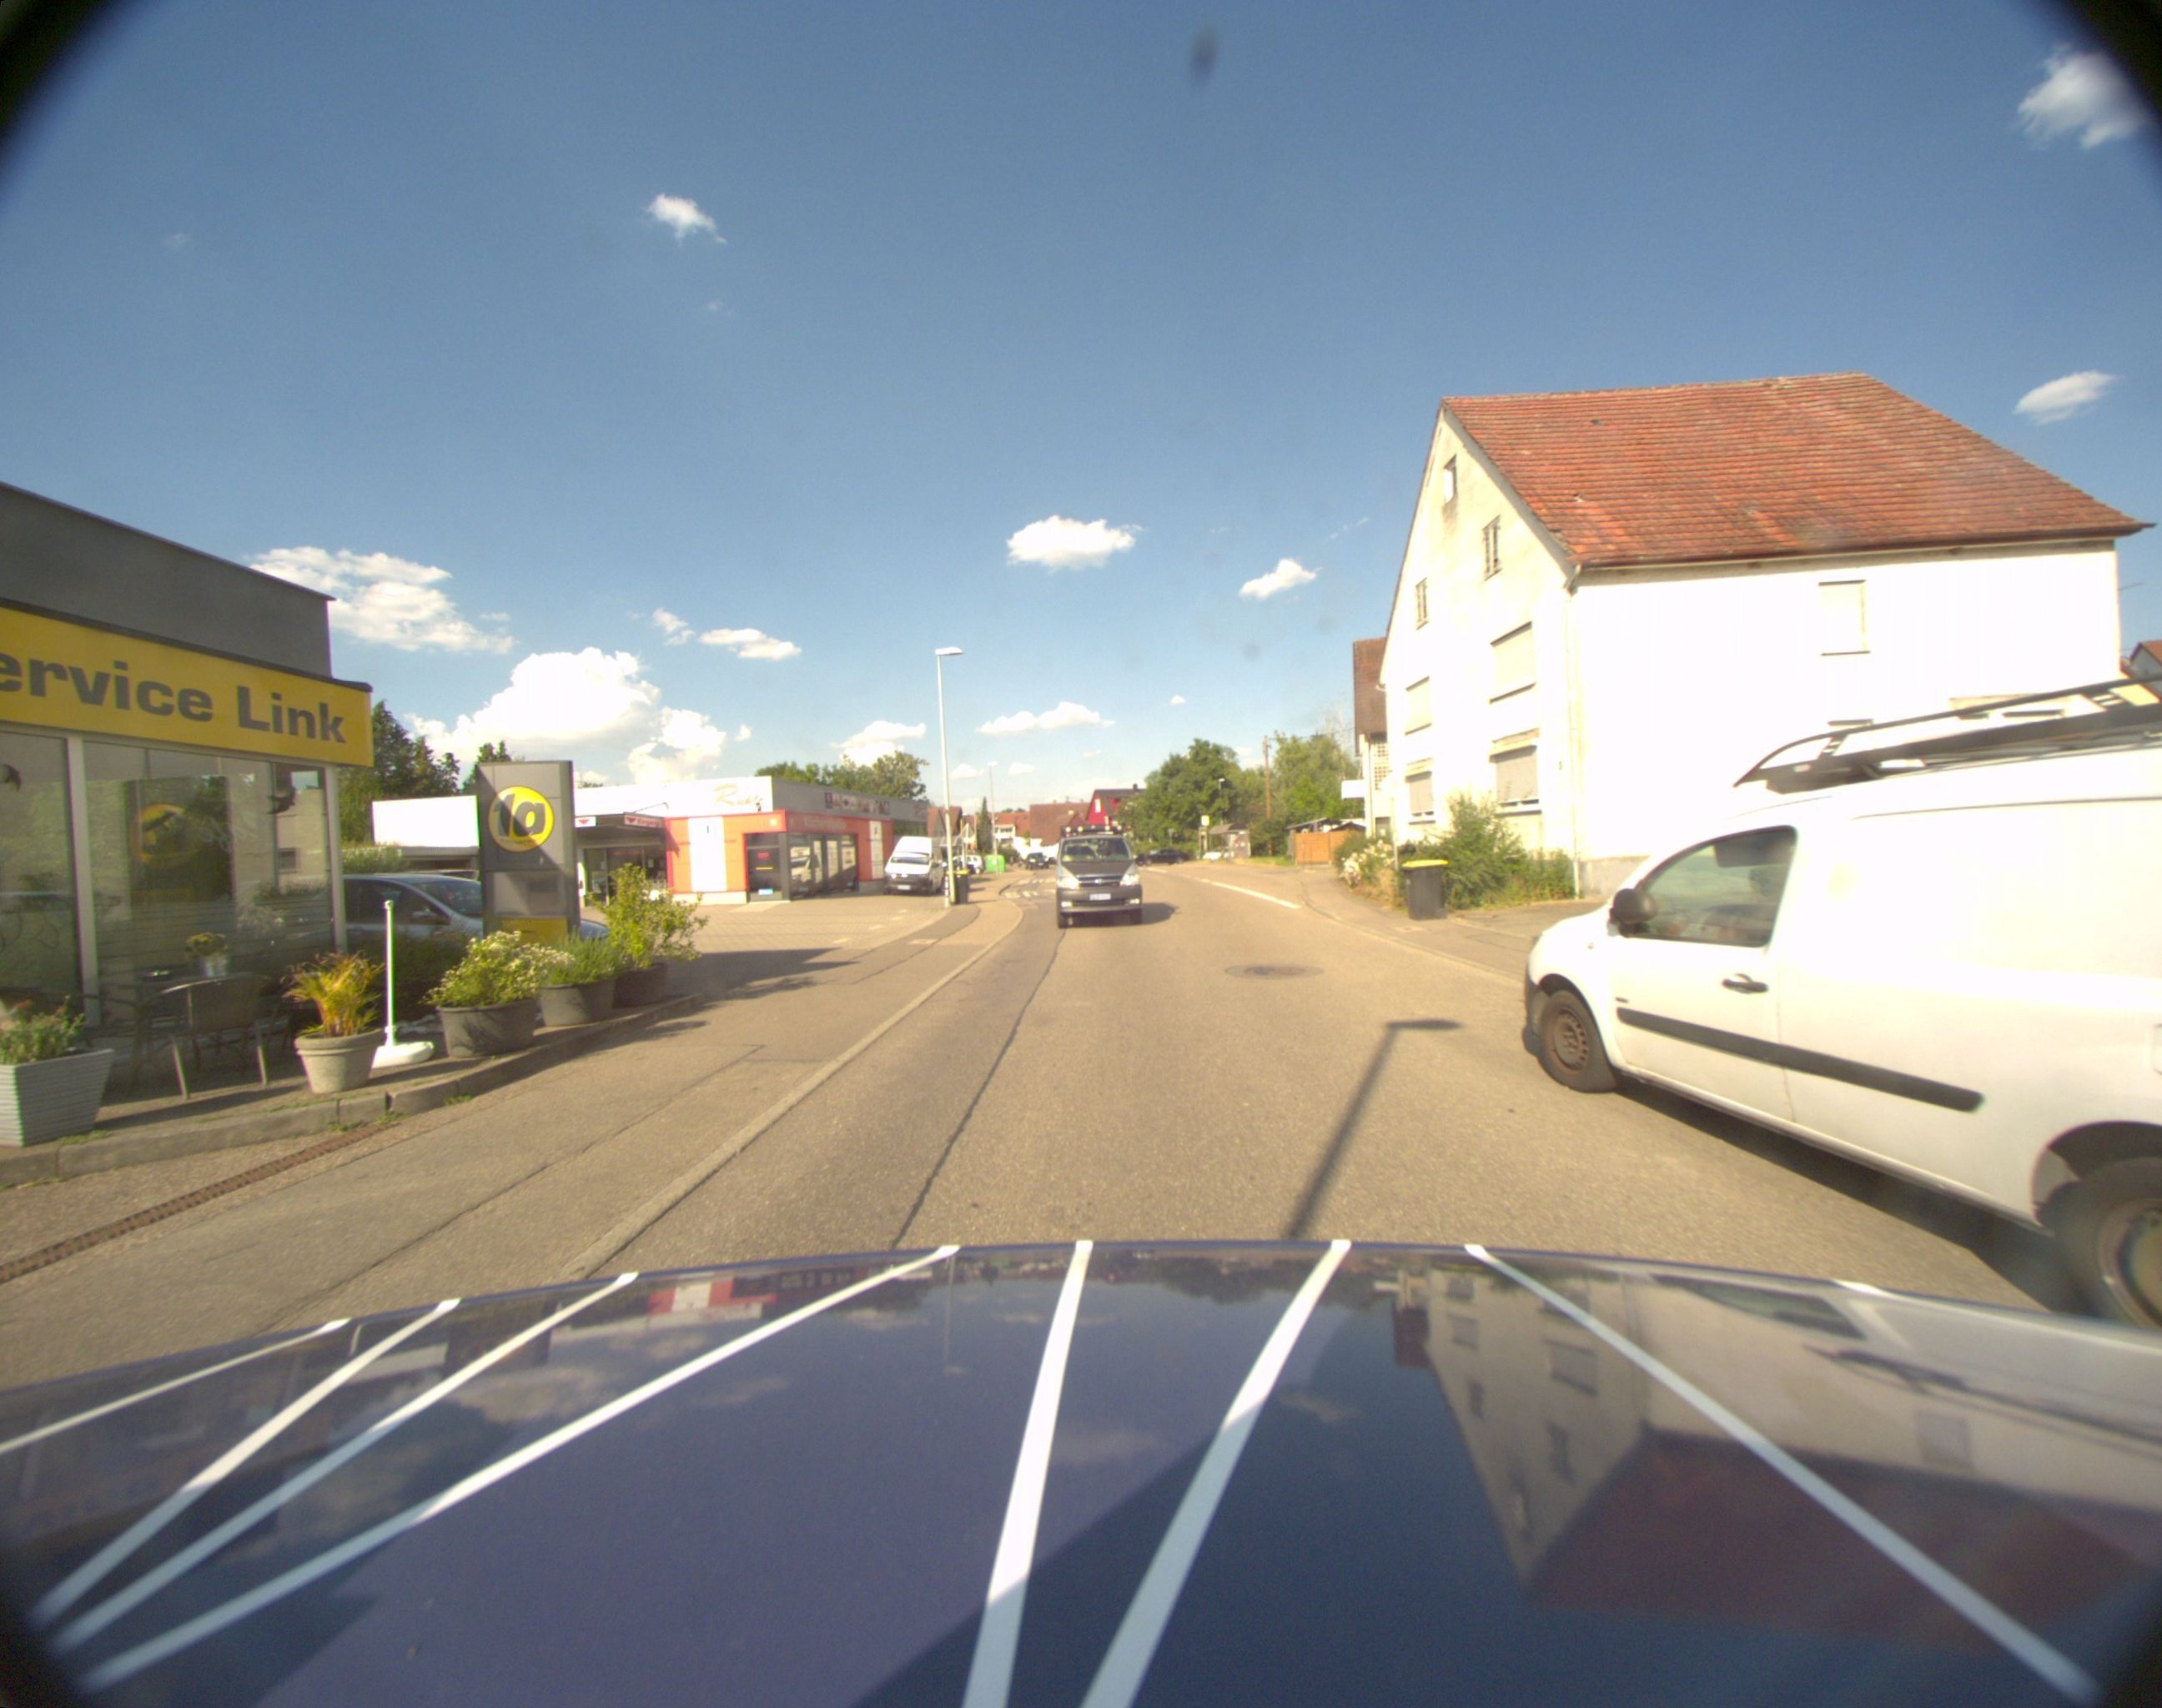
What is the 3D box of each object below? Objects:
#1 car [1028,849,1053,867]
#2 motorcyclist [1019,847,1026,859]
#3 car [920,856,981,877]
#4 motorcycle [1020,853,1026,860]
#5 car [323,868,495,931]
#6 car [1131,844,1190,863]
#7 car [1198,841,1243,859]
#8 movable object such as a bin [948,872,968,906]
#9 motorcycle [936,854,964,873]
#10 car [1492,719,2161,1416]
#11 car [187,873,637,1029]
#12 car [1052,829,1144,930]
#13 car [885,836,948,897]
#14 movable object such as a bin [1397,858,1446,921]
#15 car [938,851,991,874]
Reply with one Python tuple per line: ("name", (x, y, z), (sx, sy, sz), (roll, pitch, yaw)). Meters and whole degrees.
("car", (-3.947, 0.363, 73.156), (1.974, 1.647, 3.996), (-1, 1, -9))
("motorcyclist", (-7.919, -0.103, 103.047), (0.738, 1.518, 1.015), (-6, 2, -11))
("car", (-9.549, 0.935, 55.815), (4.074, 1.409, 1.625), (-1, 2, 3))
("motorcycle", (-7.857, 0.324, 102.996), (0.540, 1.007, 2.025), (-5, 1, -11))
("car", (-19.943, 1.318, 22.642), (3.640, 1.586, 1.640), (-2, 2, 3))
("car", (7.013, -0.058, 66.771), (4.849, 1.423, 1.768), (-3, 1, -22))
("car", (13.398, -0.409, 73.017), (4.282, 1.483, 1.857), (-3, 2, -38))
("movable object such as a bin", (-3.979, 1.125, 24.557), (0.568, 1.069, 0.572), (-2, 1, -4))
("motorcycle", (-9.307, 0.690, 53.889), (1.832, 1.316, 0.639), (-1, 1, -17))
("car", (3.748, 0.542, 3.266), (1.720, 1.862, 4.192), (-2, 0, 1))
("car", (-7.811, 1.089, 9.123), (3.997, 1.522, 1.527), (-2, 1, 1))
("car", (0.418, 0.497, 17.789), (1.820, 1.988, 4.821), (-2, 1, 2))
("car", (-6.947, 0.476, 32.570), (1.841, 2.361, 5.176), (-1, 1, -4))
("movable object such as a bin", (6.323, 0.654, 14.132), (0.612, 1.095, 0.575), (-4, 2, 1))
("car", (-9.433, 0.680, 61.826), (3.949, 1.594, 1.682), (-2, 2, 0))
